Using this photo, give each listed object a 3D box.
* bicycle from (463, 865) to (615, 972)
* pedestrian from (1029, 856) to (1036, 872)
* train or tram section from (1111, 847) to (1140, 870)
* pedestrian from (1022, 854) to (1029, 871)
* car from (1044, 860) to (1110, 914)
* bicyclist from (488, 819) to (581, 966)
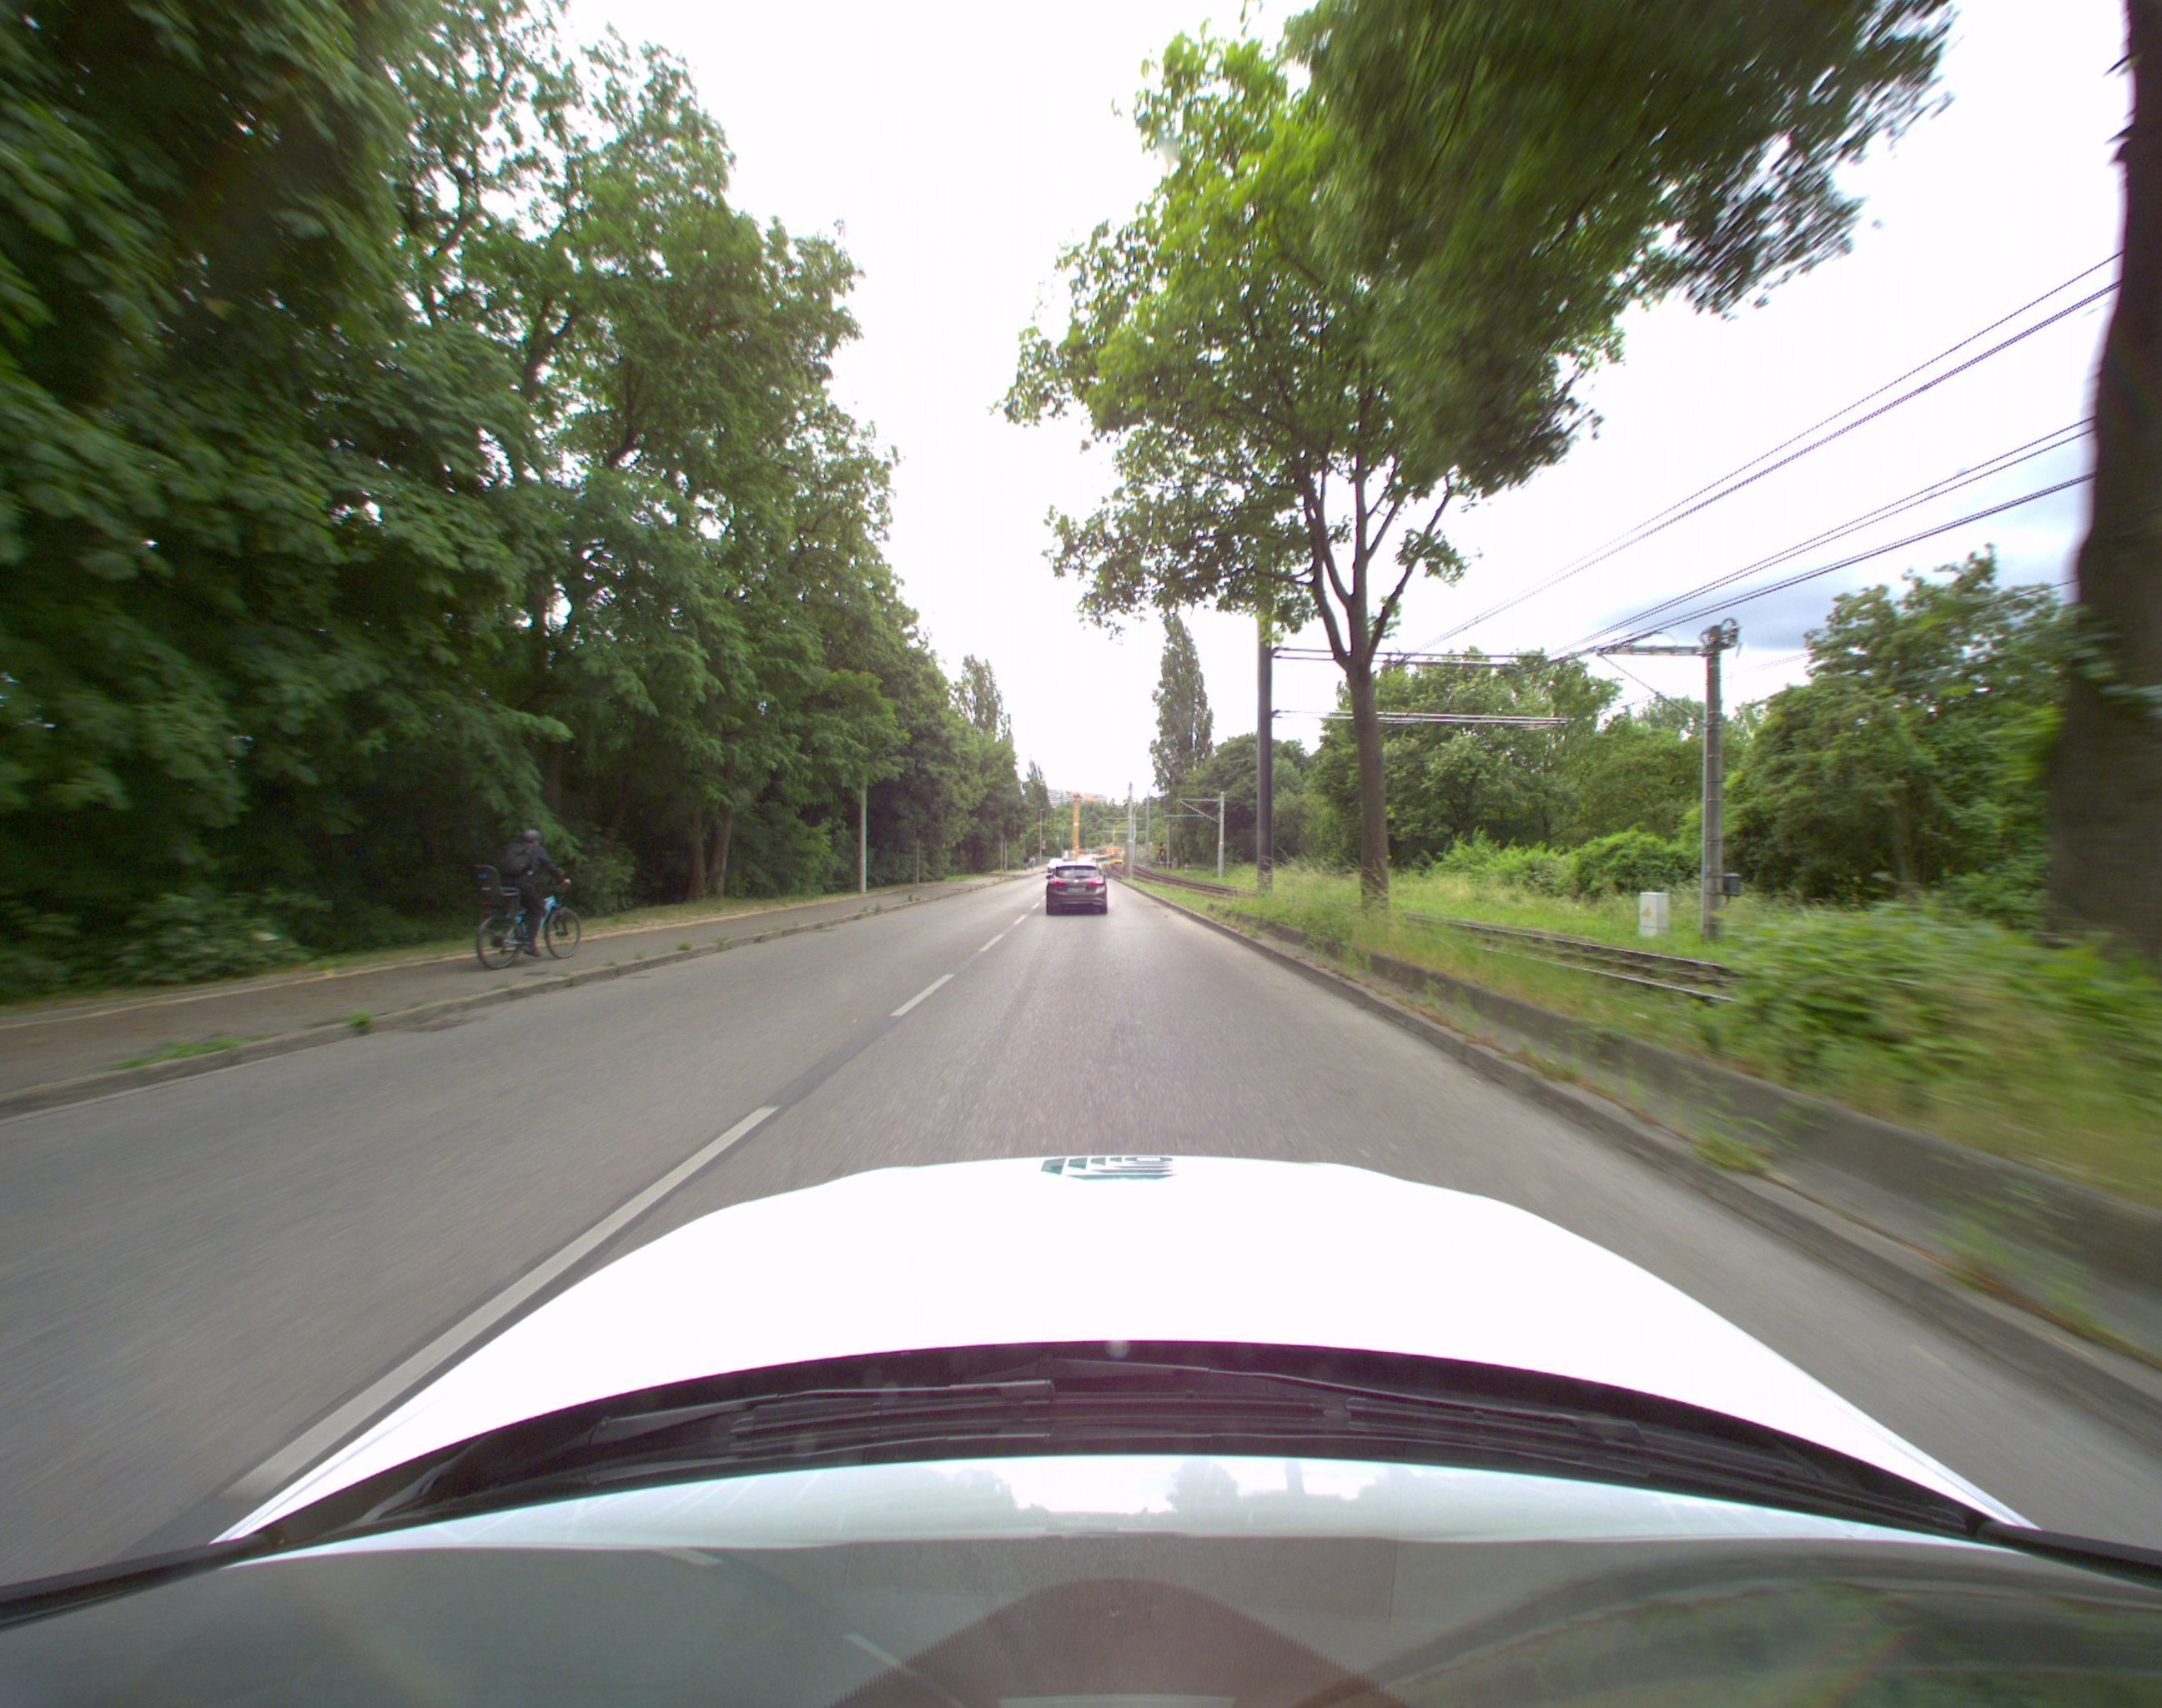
[{"bbox_3d":[-7.587,0.842,11.568,0.697,1.331,2.278,2,0,-3],"label":"bicycle"},{"bbox_3d":[-5.429,1.079,90.863,0.549,1.765,0.858,4,-1,0],"label":"pedestrian"},{"bbox_3d":[11.119,1.320,207.819,3.026,5.183,22.984,2,-3,-8],"label":"train or tram section"},{"bbox_3d":[-6.148,0.927,90.381,0.585,1.803,0.822,2,-1,0],"label":"pedestrian"},{"bbox_3d":[-0.173,0.931,24.597,1.825,1.510,3.997,0,0,-2],"label":"car"},{"bbox_3d":[-7.556,0.520,11.299,0.685,1.948,0.835,1,-1,-3],"label":"bicyclist"}]
